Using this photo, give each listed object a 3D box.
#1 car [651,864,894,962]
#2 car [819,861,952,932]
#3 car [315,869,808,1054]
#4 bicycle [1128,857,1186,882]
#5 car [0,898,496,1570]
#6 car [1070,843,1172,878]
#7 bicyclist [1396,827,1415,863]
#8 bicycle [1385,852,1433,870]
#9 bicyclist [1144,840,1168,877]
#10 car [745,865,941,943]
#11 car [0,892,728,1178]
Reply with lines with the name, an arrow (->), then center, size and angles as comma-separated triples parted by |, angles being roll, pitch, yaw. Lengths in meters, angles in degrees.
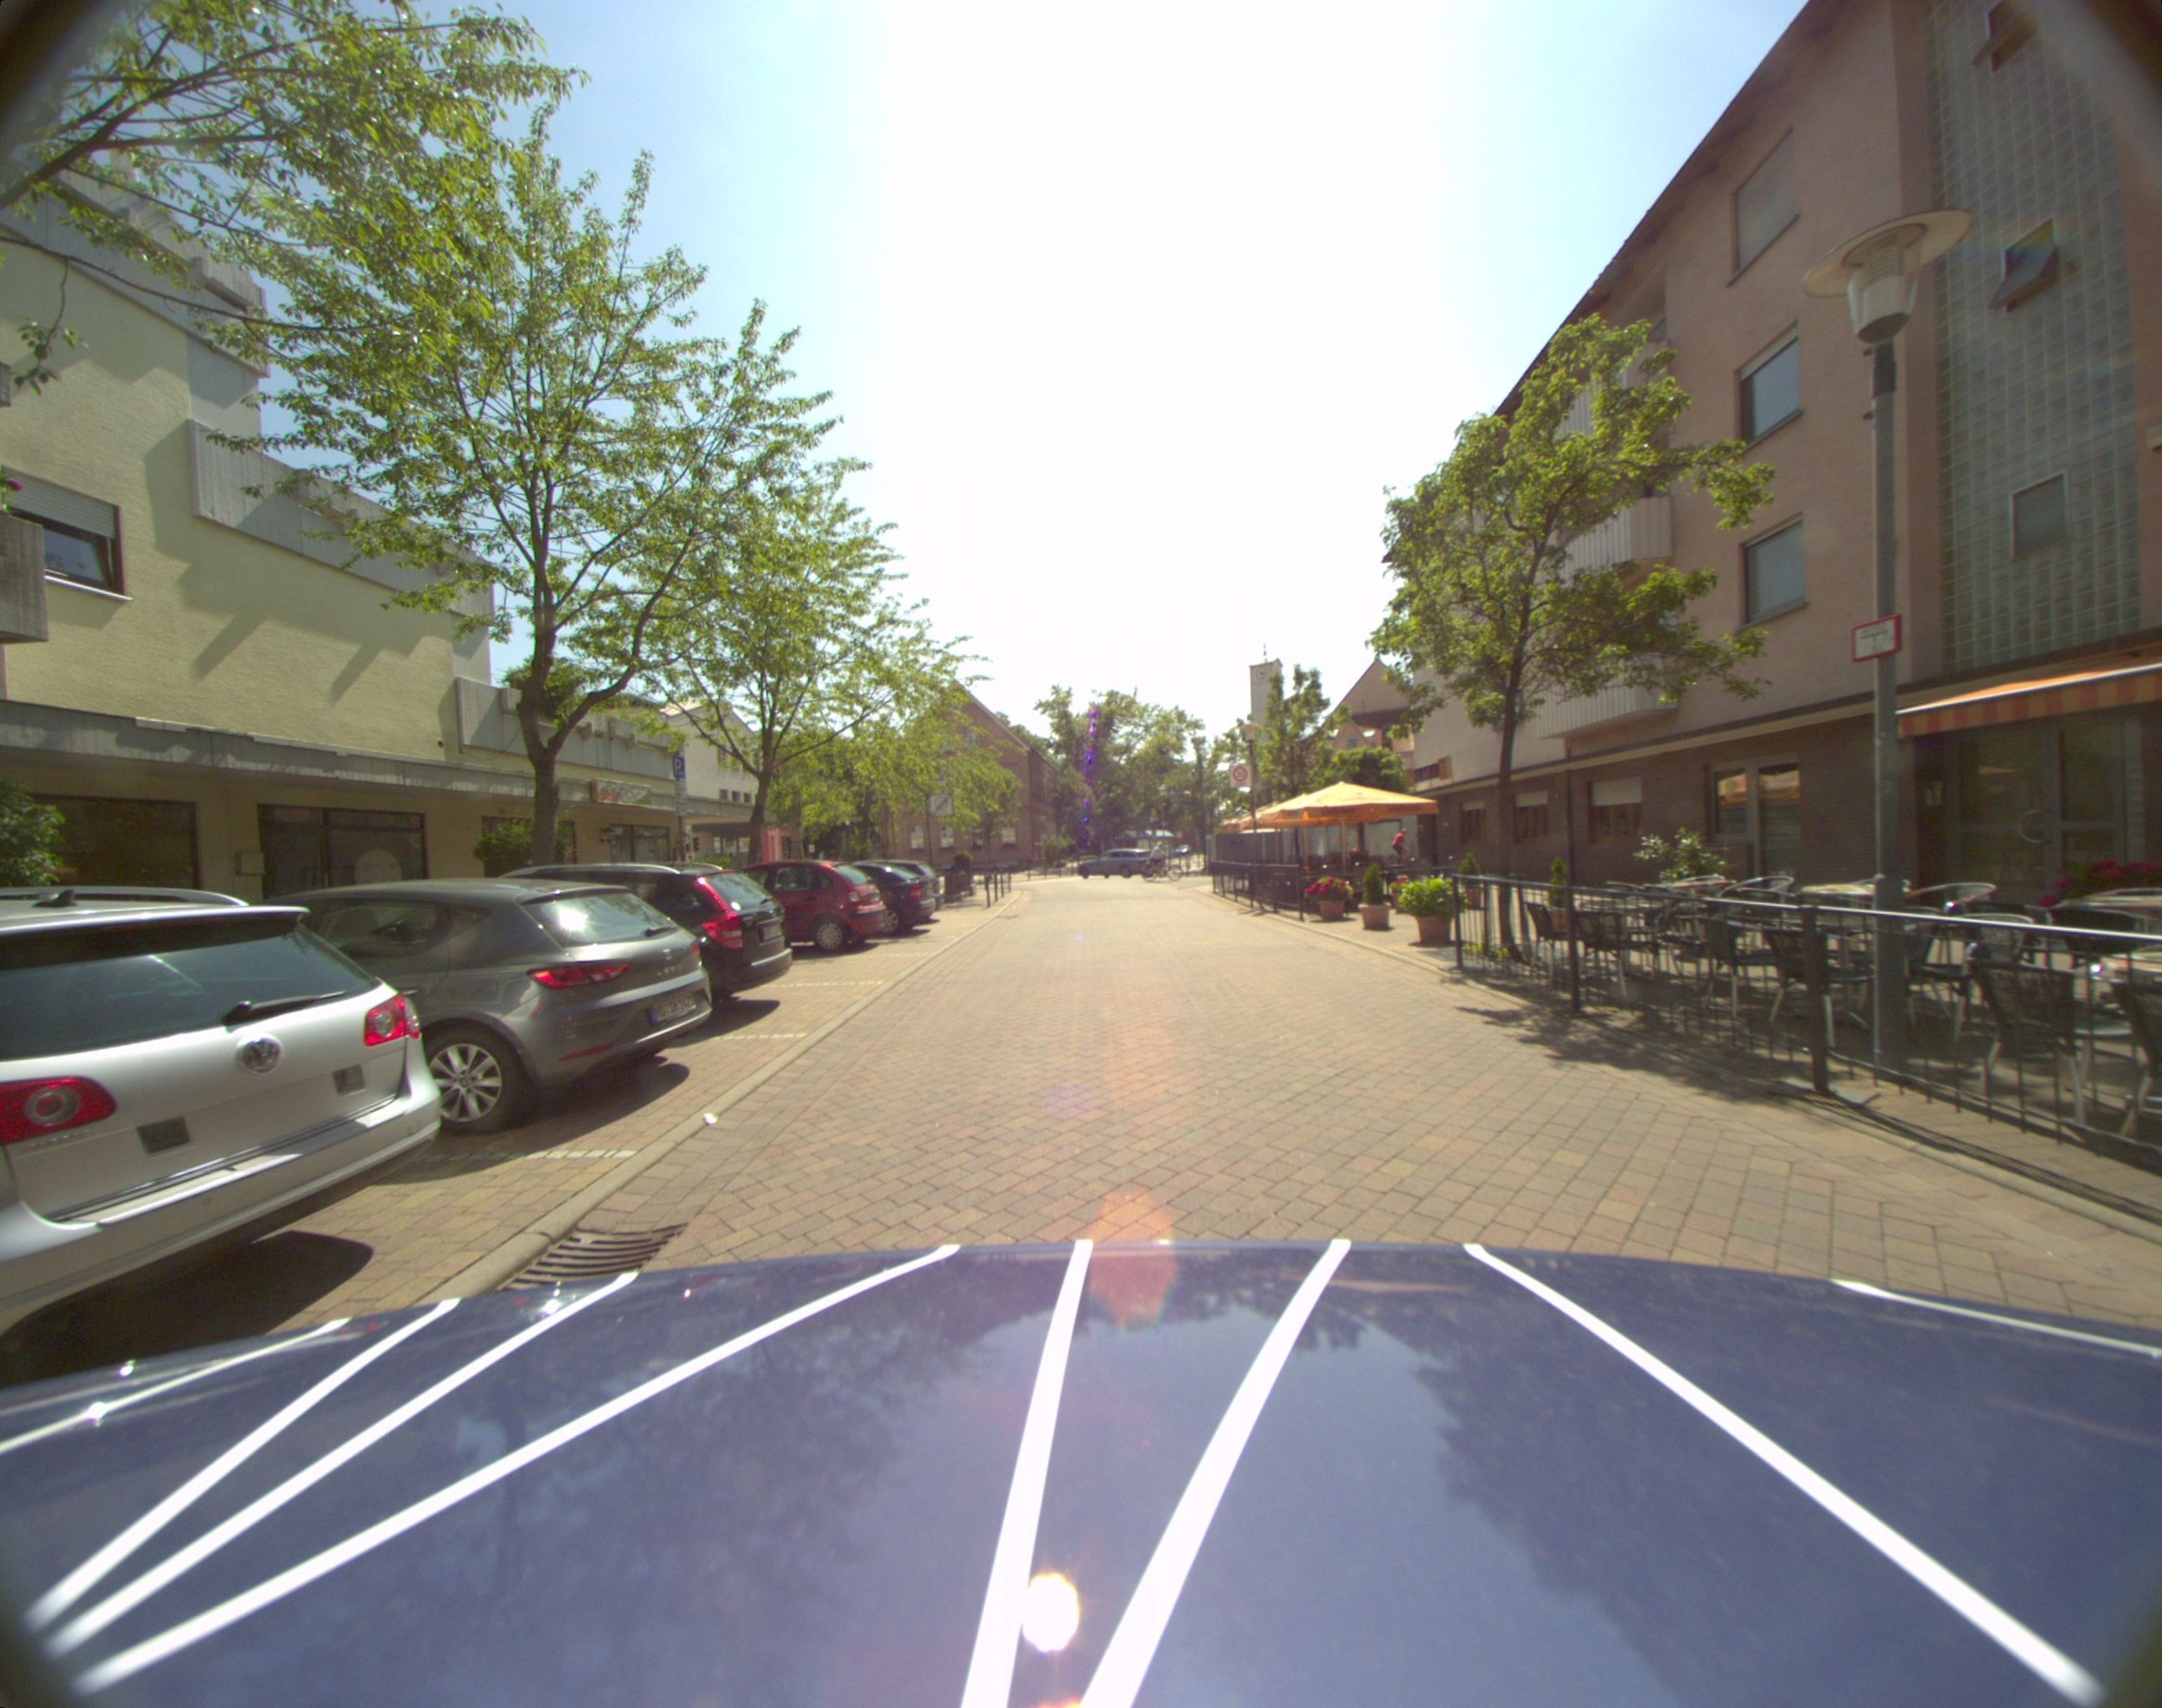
car -> -5.030, 0.940, 12.681 | 3.401, 1.455, 1.520 | -1, 1, 1
car -> -4.534, 0.972, 17.816 | 2.703, 1.437, 1.267 | -3, 1, 0
car -> -4.809, 0.954, 7.410 | 3.652, 1.508, 1.633 | -1, 1, 1
bicycle -> 3.268, 0.659, 32.781 | 2.342, 0.920, 0.775 | -3, 1, -1
car -> -4.944, 1.051, 2.504 | 4.586, 1.535, 1.806 | -2, 1, 1
car -> 1.979, 0.354, 38.829 | 5.018, 1.547, 1.908 | -2, 1, 42
bicyclist -> 13.956, -0.377, 32.651 | 0.579, 1.501, 0.627 | -3, 1, 10
bicycle -> 14.064, 0.300, 32.633 | 1.810, 0.669, 0.490 | -3, 1, 10
bicyclist -> 3.238, 0.187, 32.770 | 0.860, 1.568, 0.788 | -3, 1, -4
car -> -4.650, 0.958, 15.117 | 3.401, 1.382, 1.460 | -1, 1, 1
car -> -4.591, 1.036, 4.937 | 3.800, 1.423, 1.614 | -1, 1, 1
